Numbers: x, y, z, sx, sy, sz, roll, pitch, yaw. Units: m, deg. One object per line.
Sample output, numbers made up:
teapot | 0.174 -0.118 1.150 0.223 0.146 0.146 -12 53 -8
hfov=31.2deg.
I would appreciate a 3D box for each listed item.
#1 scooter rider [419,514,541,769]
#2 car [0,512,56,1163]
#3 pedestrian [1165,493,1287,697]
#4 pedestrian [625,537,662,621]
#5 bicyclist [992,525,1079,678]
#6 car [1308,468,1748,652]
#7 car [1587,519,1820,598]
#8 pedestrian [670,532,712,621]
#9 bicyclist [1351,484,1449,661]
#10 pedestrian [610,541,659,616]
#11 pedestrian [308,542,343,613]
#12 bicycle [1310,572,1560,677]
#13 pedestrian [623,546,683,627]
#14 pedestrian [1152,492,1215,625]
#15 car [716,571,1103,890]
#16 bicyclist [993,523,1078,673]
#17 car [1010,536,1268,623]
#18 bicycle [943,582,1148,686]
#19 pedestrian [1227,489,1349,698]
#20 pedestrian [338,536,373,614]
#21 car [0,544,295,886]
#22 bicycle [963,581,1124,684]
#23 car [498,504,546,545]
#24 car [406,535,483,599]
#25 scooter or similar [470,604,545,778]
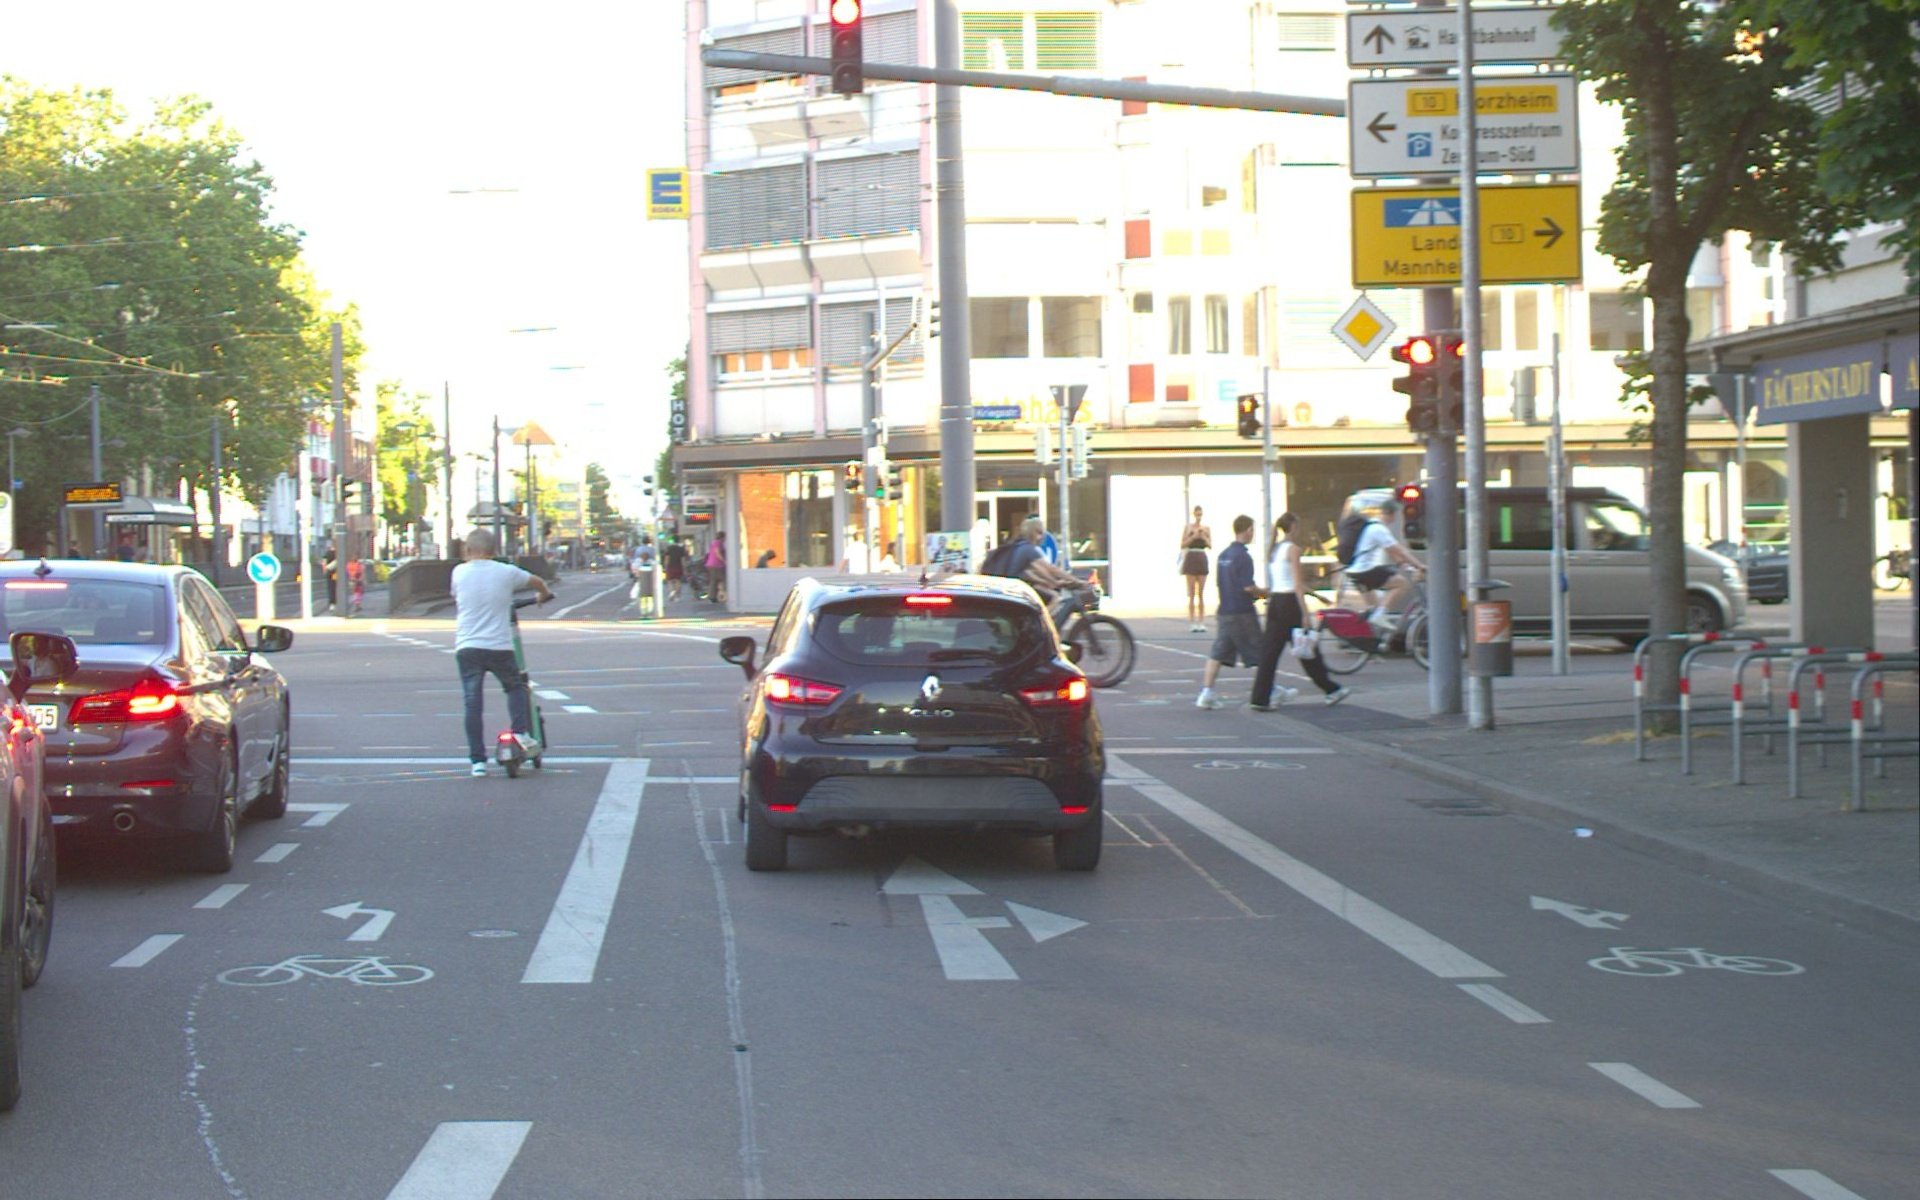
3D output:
scooter rider | -3.145 0.267 22.557 0.662 1.641 0.661 1 0 4
car | -3.708 0.549 10.214 1.834 1.630 4.092 0 1 -13
pedestrian | 2.428 -0.055 31.365 0.727 1.824 0.996 1 0 30
pedestrian | -8.309 -0.551 90.206 0.931 2.189 0.852 1 0 -7
bicyclist | 0.764 0.010 34.829 0.704 1.506 0.550 -3 1 -11
car | 6.676 -0.491 40.562 4.682 2.007 2.001 -2 1 -15
car | 14.432 -0.802 66.880 3.986 1.471 2.000 1 1 -6
pedestrian | -7.174 -0.629 91.705 1.084 2.357 1.056 1 0 -4
bicyclist | 4.700 -0.295 36.753 0.860 1.871 0.647 1 0 -11
pedestrian | -7.102 -0.475 74.949 0.721 1.618 0.772 -2 1 -42
pedestrian | -14.910 -0.522 80.848 0.701 1.658 0.808 1 0 -3
bicycle | 5.087 0.262 36.828 2.639 1.096 0.435 1 0 -10
pedestrian | -6.606 -0.293 73.987 0.852 1.720 0.932 1 1 44
pedestrian | 3.017 -0.560 46.390 0.746 1.772 0.800 1 0 -2
car | -0.370 0.585 17.857 1.764 1.435 4.001 0 1 -4
bicyclist | 0.775 -0.024 35.539 0.704 1.506 0.550 -3 1 -11
car | 3.341 -0.392 64.715 4.551 1.615 1.998 0 1 -7
bicycle | 0.865 0.336 34.840 2.036 1.024 0.417 0 1 -10
pedestrian | 2.920 -0.062 30.566 0.727 1.824 0.996 1 0 29
pedestrian | -14.174 -0.589 80.602 0.701 1.816 0.808 1 0 -3
car | -4.415 0.471 17.208 1.744 1.455 4.411 1 1 -6
bicycle | 0.866 0.331 35.542 1.611 1.024 0.353 -1 1 -11
car | -20.822 -3.592 163.579 1.993 1.894 4.001 1 1 -4
car | -14.556 -0.932 97.216 1.811 1.740 3.715 1 1 -3
scooter or similar | -2.954 0.581 22.516 0.279 1.087 1.257 1 0 2
